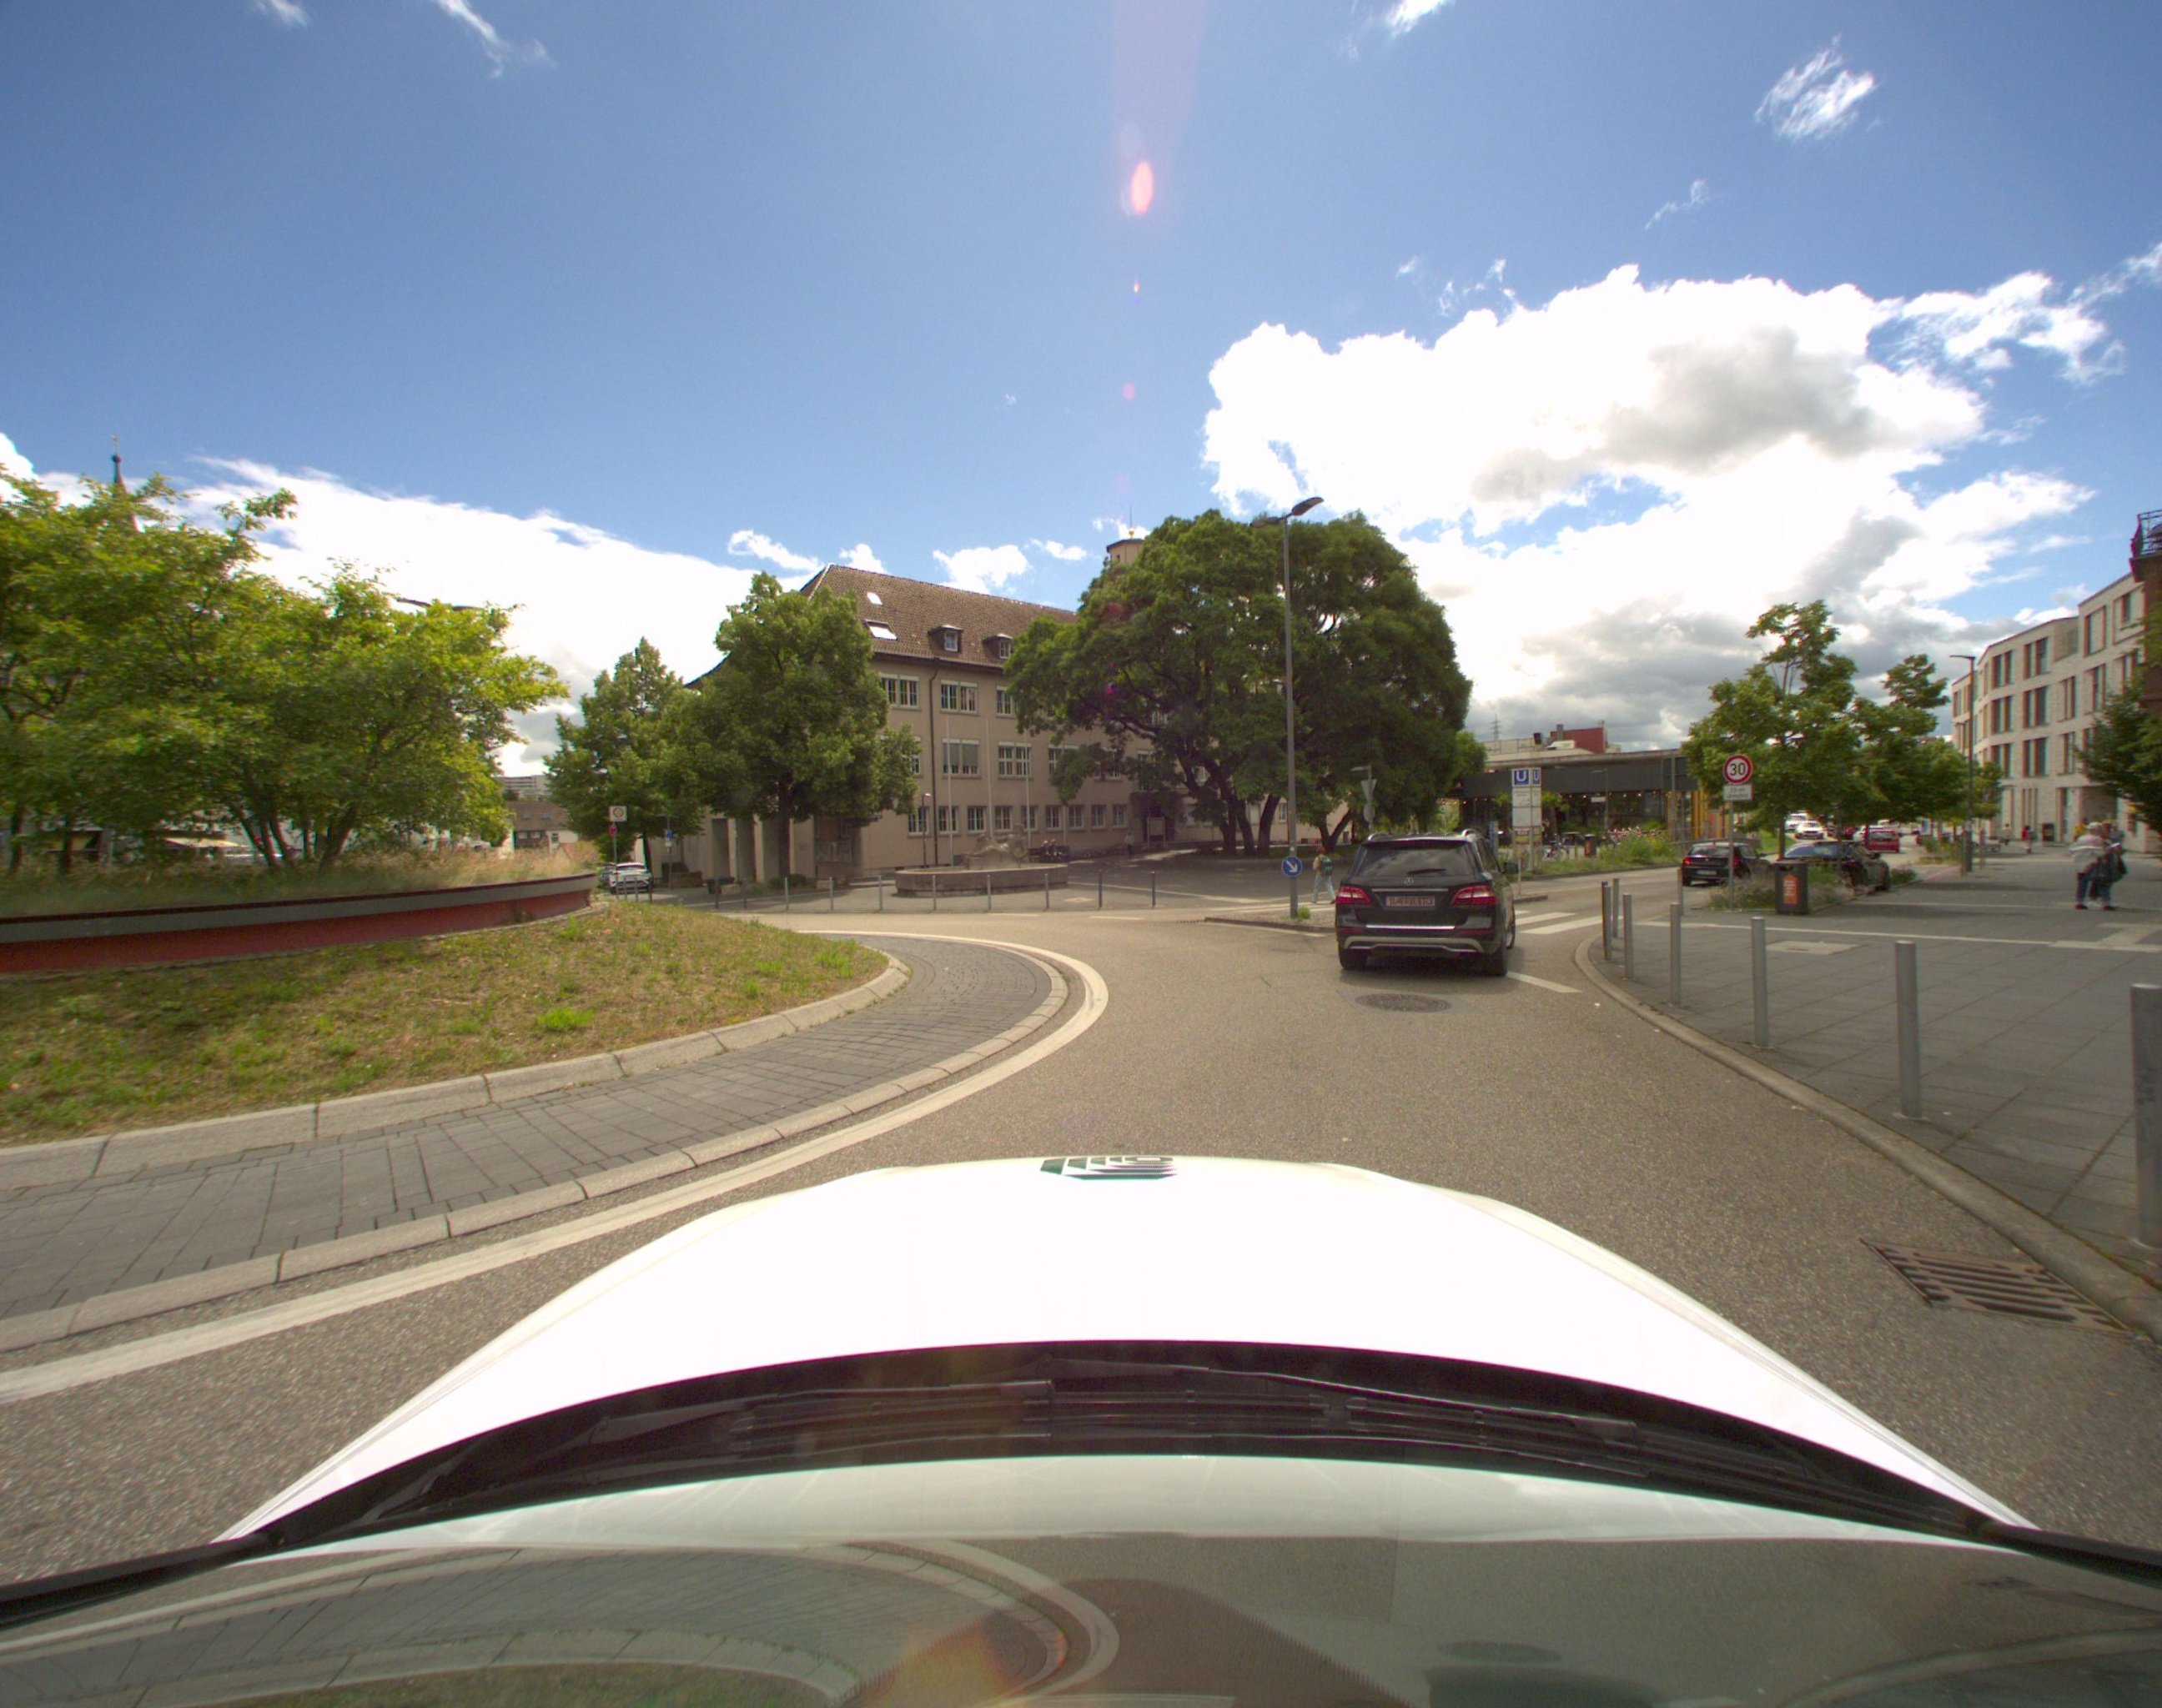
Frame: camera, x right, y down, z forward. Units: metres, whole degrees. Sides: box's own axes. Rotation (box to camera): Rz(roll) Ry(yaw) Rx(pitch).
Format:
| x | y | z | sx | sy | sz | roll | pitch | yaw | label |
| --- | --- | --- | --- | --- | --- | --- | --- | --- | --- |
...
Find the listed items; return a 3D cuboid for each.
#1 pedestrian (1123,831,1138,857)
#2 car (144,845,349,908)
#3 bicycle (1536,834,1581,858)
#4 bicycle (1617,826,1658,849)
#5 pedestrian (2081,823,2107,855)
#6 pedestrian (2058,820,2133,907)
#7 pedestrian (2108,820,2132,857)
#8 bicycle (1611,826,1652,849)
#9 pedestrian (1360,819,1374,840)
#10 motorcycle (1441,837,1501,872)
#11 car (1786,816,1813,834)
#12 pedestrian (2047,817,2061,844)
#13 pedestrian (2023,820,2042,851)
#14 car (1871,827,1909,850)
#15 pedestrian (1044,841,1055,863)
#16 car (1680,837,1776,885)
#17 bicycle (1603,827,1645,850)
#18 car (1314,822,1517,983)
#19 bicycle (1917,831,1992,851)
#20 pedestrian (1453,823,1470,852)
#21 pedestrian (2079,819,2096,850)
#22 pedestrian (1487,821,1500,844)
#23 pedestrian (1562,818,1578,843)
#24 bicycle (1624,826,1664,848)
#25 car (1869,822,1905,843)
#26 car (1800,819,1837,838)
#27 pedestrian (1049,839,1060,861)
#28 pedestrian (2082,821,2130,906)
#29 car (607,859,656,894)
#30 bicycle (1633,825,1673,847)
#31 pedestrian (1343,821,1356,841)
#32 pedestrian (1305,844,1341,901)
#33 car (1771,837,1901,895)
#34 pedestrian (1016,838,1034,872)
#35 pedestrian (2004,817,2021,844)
| x | y | z | sx | sy | sz | roll | pitch | yaw | label |
| --- | --- | --- | --- | --- | --- | --- | --- | --- | --- |
| 2.842 | -0.571 | 46.597 | 0.698 | 1.492 | 0.812 | -1 | 0 | -9 | pedestrian |
| -37.435 | 0.966 | 36.783 | 2.178 | 2.560 | 6.343 | -5 | -3 | 43 | car |
| 20.562 | -0.330 | 35.081 | 0.502 | 0.997 | 1.601 | -2 | 1 | -31 | bicycle |
| 27.424 | -0.819 | 40.113 | 0.581 | 1.091 | 1.555 | -2 | 1 | -37 | bicycle |
| 50.046 | -0.731 | 40.236 | 0.704 | 1.563 | 0.572 | -1 | 1 | 43 | pedestrian |
| 19.597 | 0.180 | 15.741 | 0.550 | 1.629 | 0.678 | -2 | -1 | 6 | pedestrian |
| 46.045 | -0.682 | 36.097 | 0.703 | 1.626 | 0.626 | -2 | 1 | -39 | pedestrian |
| 26.769 | -0.783 | 39.642 | 0.541 | 1.069 | 1.555 | -2 | 1 | -37 | bicycle |
| 21.748 | -1.868 | 61.904 | 0.640 | 1.627 | 0.779 | -2 | 1 | -39 | pedestrian |
| 15.285 | 0.012 | 31.961 | 0.586 | 1.289 | 2.116 | -5 | 4 | -35 | motorcycle |
| 77.716 | -3.141 | 88.142 | 1.823 | 1.857 | 4.527 | 2 | 4 | 37 | car |
| 59.766 | -1.445 | 50.035 | 0.571 | 1.682 | 0.554 | -2 | 1 | -41 | pedestrian |
| 52.389 | -1.014 | 44.826 | 0.571 | 1.682 | 0.657 | -2 | 1 | -37 | pedestrian |
| 50.742 | -0.988 | 51.139 | 1.593 | 1.383 | 3.860 | -1 | 1 | 44 | car |
| -1.699 | -0.129 | 44.252 | 0.483 | 1.182 | 0.582 | -1 | 0 | 10 | pedestrian |
| 20.936 | 0.195 | 26.307 | 3.855 | 1.383 | 1.595 | -2 | 1 | -39 | car |
| 26.124 | -0.747 | 39.214 | 0.581 | 1.091 | 1.555 | -2 | 1 | -37 | bicycle |
| 4.766 | 0.497 | 11.166 | 2.008 | 1.727 | 4.461 | -2 | 0 | 29 | car |
| 52.056 | -0.762 | 48.585 | 0.714 | 1.146 | 3.032 | -2 | 1 | -42 | bicycle |
| 20.399 | -0.881 | 43.624 | 0.611 | 1.577 | 0.583 | -2 | 0 | 2 | pedestrian |
| 56.423 | -1.083 | 45.665 | 0.642 | 1.691 | 0.554 | -2 | 1 | -41 | pedestrian |
| 24.733 | -1.275 | 48.811 | 0.575 | 1.379 | 0.620 | -1 | 1 | 40 | pedestrian |
| 29.163 | -1.419 | 48.560 | 0.618 | 1.463 | 0.577 | -2 | 0 | -29 | pedestrian |
| 28.134 | -0.849 | 40.726 | 0.581 | 1.091 | 1.555 | -2 | 1 | -37 | bicycle |
| 61.588 | -1.647 | 62.224 | 4.023 | 1.524 | 1.824 | -2 | 4 | -44 | car |
| 66.833 | -2.342 | 73.891 | 1.823 | 1.607 | 4.026 | 2 | 3 | 33 | car |
| -1.453 | -0.230 | 44.930 | 0.483 | 1.222 | 0.582 | -1 | 0 | 10 | pedestrian |
| 20.219 | 0.178 | 16.063 | 0.512 | 1.629 | 0.500 | -1 | -1 | -33 | pedestrian |
| -22.163 | 1.065 | 40.158 | 1.990 | 1.530 | 3.962 | -2 | 1 | -29 | car |
| 28.939 | -0.923 | 41.211 | 0.581 | 1.091 | 1.555 | -2 | 1 | -37 | bicycle |
| 21.412 | -1.806 | 64.849 | 0.792 | 1.577 | 0.629 | -2 | 1 | -37 | pedestrian |
| 6.762 | 0.496 | 22.791 | 0.553 | 1.514 | 0.782 | -3 | 3 | -24 | pedestrian |
| 20.875 | 0.284 | 22.476 | 4.394 | 1.406 | 1.842 | -2 | 0 | -37 | car |
| -2.536 | 0.039 | 36.964 | 0.639 | 1.523 | 0.573 | -1 | 4 | -23 | pedestrian |
| 59.609 | -1.520 | 52.095 | 0.553 | 1.682 | 0.572 | -1 | 1 | 30 | pedestrian |
